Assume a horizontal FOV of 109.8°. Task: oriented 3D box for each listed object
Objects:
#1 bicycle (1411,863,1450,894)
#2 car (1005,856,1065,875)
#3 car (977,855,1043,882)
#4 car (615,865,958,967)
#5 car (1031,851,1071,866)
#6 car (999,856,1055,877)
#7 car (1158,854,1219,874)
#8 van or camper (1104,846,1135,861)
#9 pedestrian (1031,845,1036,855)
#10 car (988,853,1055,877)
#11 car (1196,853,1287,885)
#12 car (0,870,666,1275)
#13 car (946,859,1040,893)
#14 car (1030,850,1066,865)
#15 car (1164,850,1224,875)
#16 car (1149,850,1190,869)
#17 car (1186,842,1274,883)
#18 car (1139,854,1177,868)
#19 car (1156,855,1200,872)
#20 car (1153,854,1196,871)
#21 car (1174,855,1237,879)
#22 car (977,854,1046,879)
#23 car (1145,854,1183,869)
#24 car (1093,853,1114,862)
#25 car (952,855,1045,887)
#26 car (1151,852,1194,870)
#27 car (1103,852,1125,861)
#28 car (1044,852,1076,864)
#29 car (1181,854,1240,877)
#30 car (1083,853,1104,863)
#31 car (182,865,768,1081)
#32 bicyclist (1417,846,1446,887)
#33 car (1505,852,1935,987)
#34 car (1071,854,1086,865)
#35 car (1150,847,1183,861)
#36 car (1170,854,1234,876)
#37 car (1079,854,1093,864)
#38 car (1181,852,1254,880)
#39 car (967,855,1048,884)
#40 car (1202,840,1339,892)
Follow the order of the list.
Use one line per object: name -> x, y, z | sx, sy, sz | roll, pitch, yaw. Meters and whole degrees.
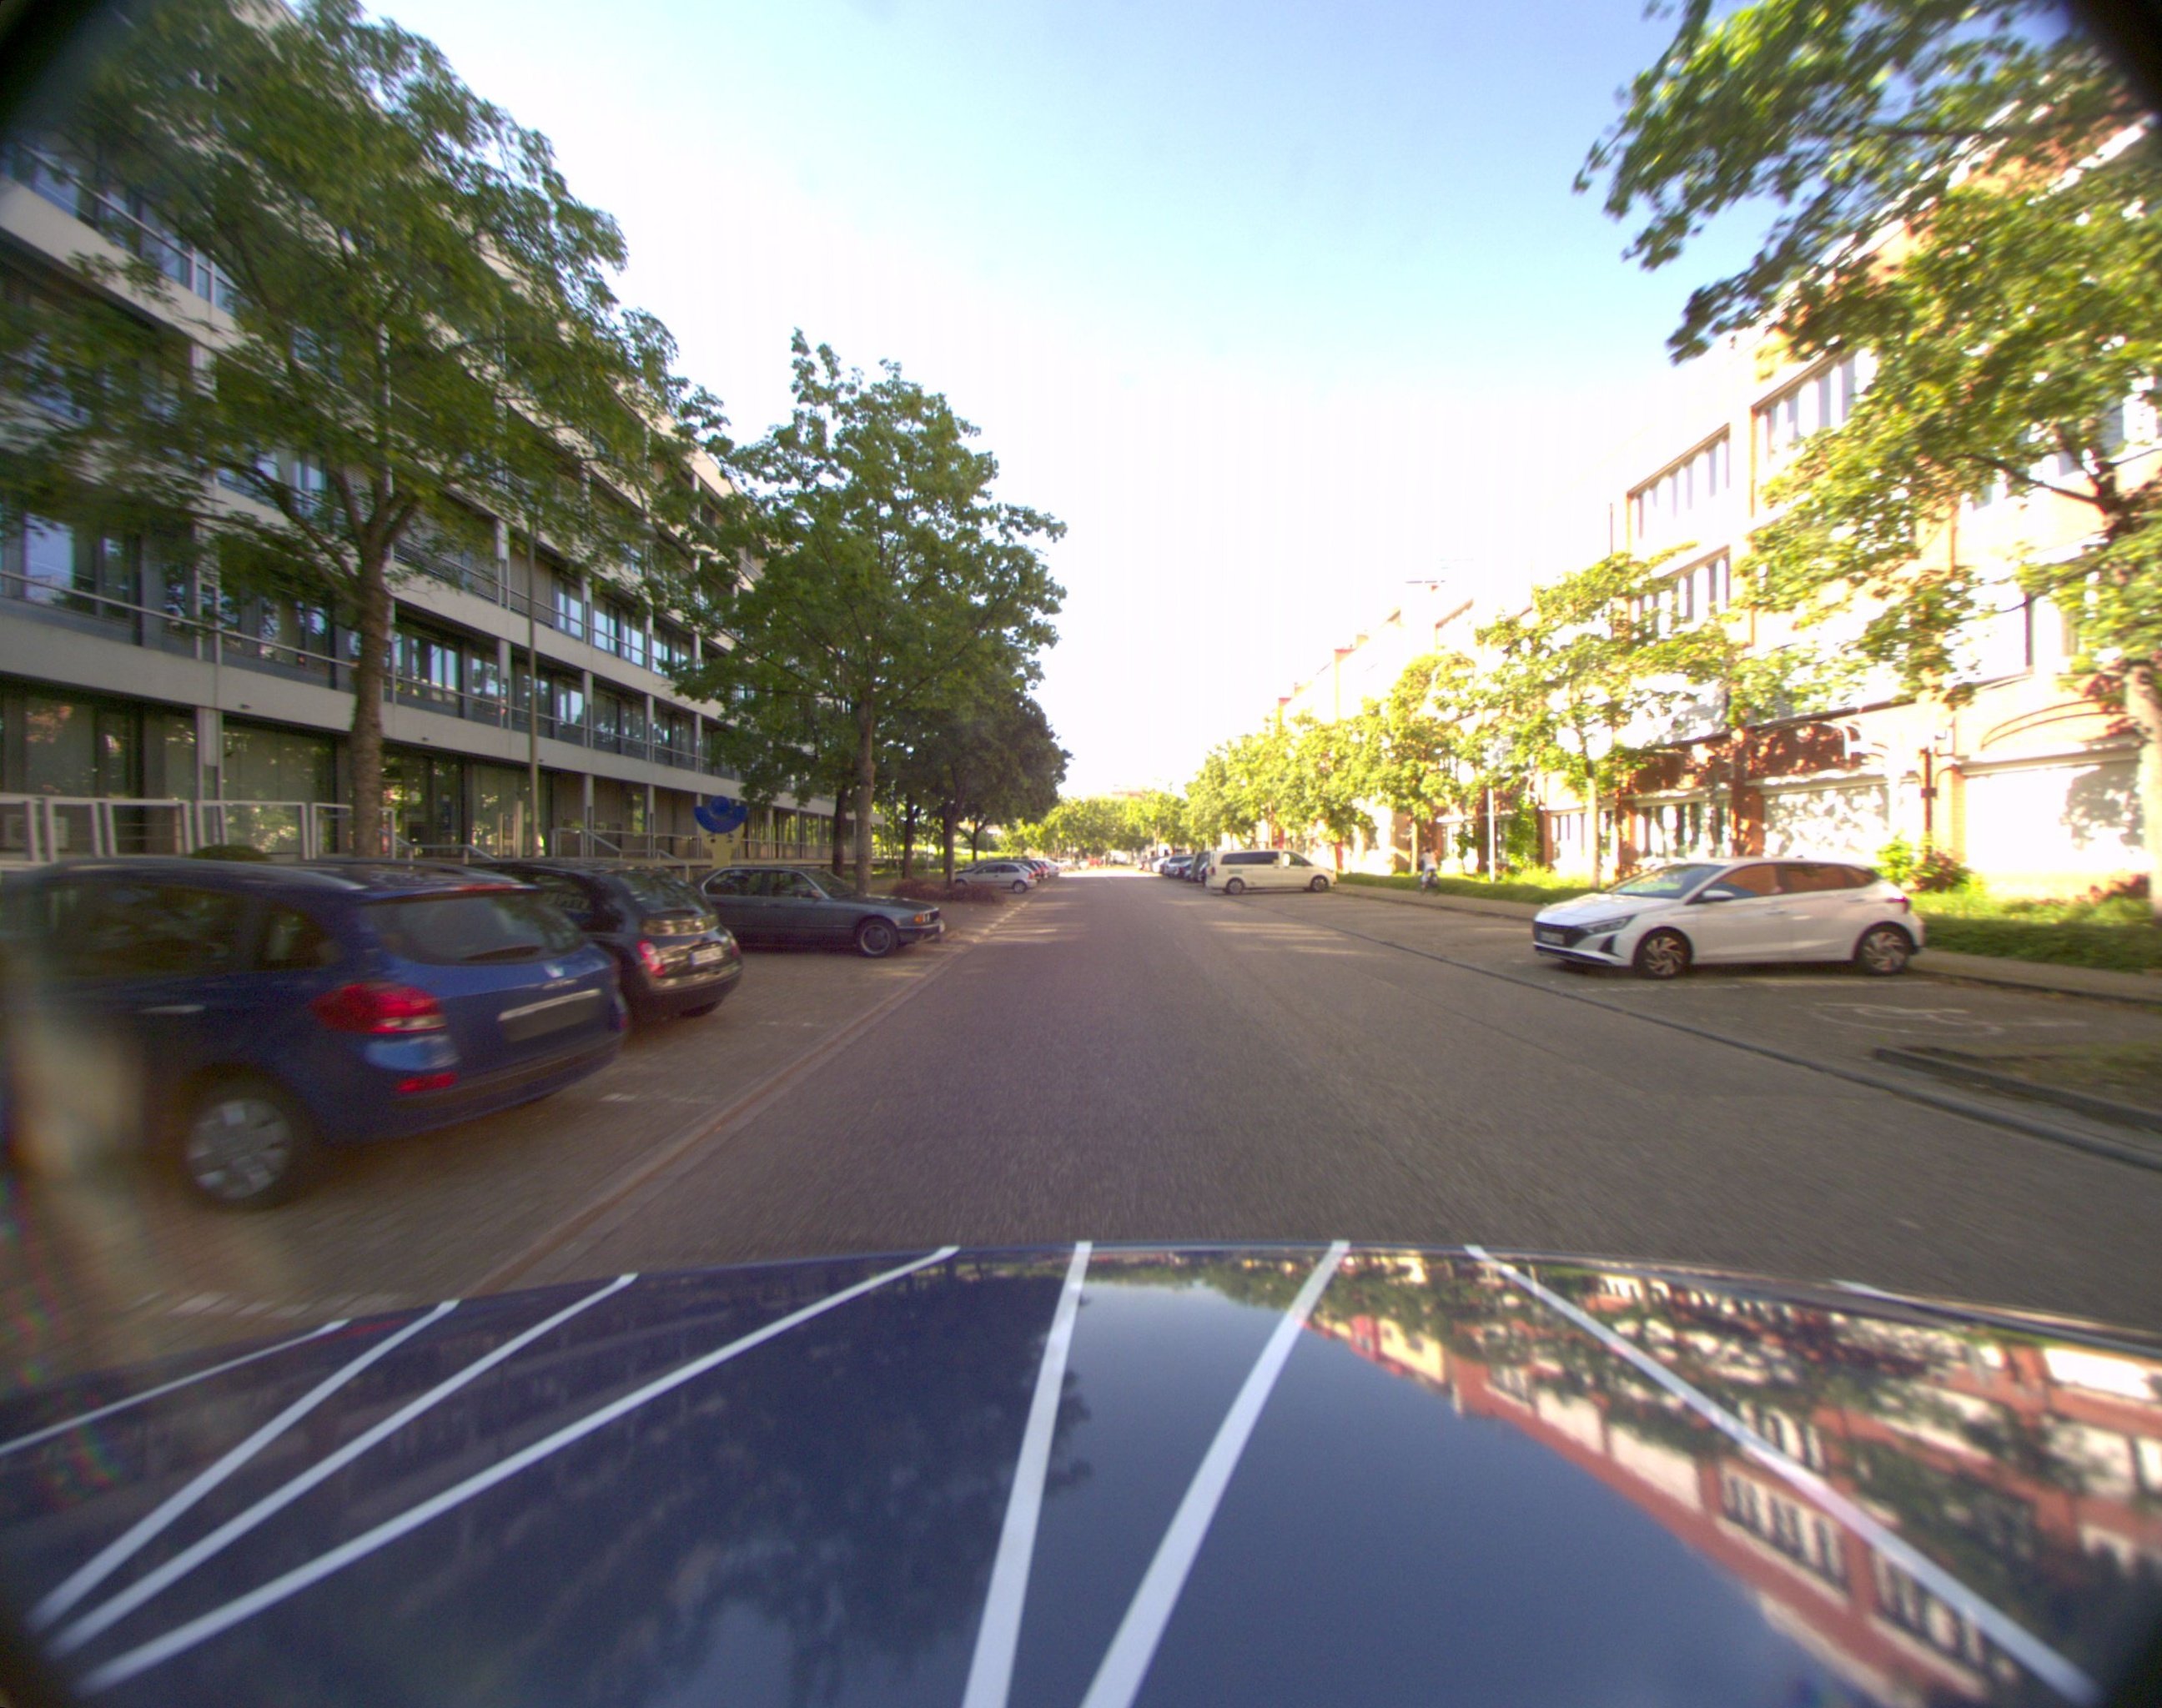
bicycle -> 11.853, 0.807, 25.837 | 0.606, 0.976, 1.864 | 0, 0, 5
car -> -3.544, 0.881, 59.457 | 4.589, 1.467, 1.747 | 0, 0, 1
car -> -4.175, 0.861, 44.951 | 3.754, 1.484, 1.616 | 1, 0, -4
car -> -4.612, 0.964, 12.525 | 4.837, 1.411, 2.032 | 1, 0, -1
car -> -3.547, 0.514, 89.953 | 4.563, 1.506, 1.981 | 2, 1, -5
car -> -4.007, 0.892, 56.834 | 3.846, 1.438, 1.922 | 1, 0, 5
car -> 8.372, 0.778, 59.326 | 4.414, 1.419, 1.772 | -2, 0, -1
van or camper -> 7.992, -0.127, 157.164 | 5.990, 2.967, 2.673 | 2, 1, 12
pedestrian -> -7.808, -0.681, 124.100 | 0.608, 1.533, 0.937 | 0, 1, 7
car -> -4.198, 0.769, 54.084 | 4.525, 1.533, 1.922 | 1, 0, 3
car -> 8.323, 0.760, 39.654 | 4.330, 1.469, 1.943 | -2, 0, 3
car -> -4.686, 0.900, 4.031 | 3.958, 1.506, 1.813 | 1, 0, 2
car -> -3.921, 0.963, 34.281 | 3.979, 1.411, 1.710 | 1, 0, 1
car -> -3.811, 0.389, 87.300 | 3.957, 1.506, 1.702 | 2, 1, 2
car -> 8.431, 0.605, 57.061 | 4.329, 1.707, 1.963 | -2, 0, 6
car -> 8.934, 0.563, 77.151 | 3.901, 1.800, 1.786 | -2, 0, 1
car -> 8.278, 0.448, 42.471 | 4.498, 2.077, 2.083 | -2, 0, 3
car -> 8.800, 0.780, 86.760 | 4.272, 1.415, 1.740 | -2, 0, 5
car -> 8.884, 0.863, 69.689 | 3.736, 1.438, 1.859 | -2, 0, -3
car -> 8.816, 0.779, 72.055 | 3.736, 1.438, 1.875 | -2, 0, -3
car -> 8.062, 0.818, 49.416 | 3.736, 1.419, 1.724 | -2, 0, -3
car -> -4.682, 0.831, 51.469 | 4.528, 1.533, 1.921 | 1, 0, -3
car -> 8.926, 0.788, 82.145 | 3.901, 1.415, 1.739 | -2, 0, 1
car -> 4.250, 0.647, 144.160 | 3.466, 1.471, 1.861 | 3, 1, 14
car -> -4.241, 0.876, 39.521 | 4.603, 1.484, 1.762 | 2, 0, -2
car -> 8.981, 0.704, 74.741 | 3.901, 1.565, 1.859 | -2, 0, 1
car -> 6.625, 0.529, 154.445 | 4.155, 1.537, 1.861 | 3, 1, 11
car -> -2.919, 0.528, 104.174 | 4.096, 1.421, 1.643 | 4, 1, 8
car -> 8.828, 0.769, 52.041 | 3.735, 1.419, 1.725 | -2, 0, 0
car -> 2.206, 0.673, 135.063 | 3.438, 1.535, 1.629 | 3, 1, 14
car -> -4.947, 0.907, 6.625 | 3.650, 1.506, 1.813 | 1, 0, 1
bicyclist -> 11.842, 0.420, 25.670 | 0.606, 1.345, 0.913 | 0, 1, 5
car -> 7.958, 0.760, 9.755 | 3.997, 1.477, 1.806 | -1, 0, 0
car -> -0.319, 0.836, 113.158 | 1.813, 1.485, 4.625 | 2, 0, 4
car -> 13.276, -0.026, 118.070 | 4.776, 1.973, 1.997 | -1, -1, -22
car -> 8.682, 0.773, 54.674 | 4.332, 1.350, 1.757 | -2, 0, 0
car -> 0.780, 0.828, 121.750 | 1.646, 1.485, 3.768 | 2, 0, 9
car -> 8.396, 0.733, 47.021 | 4.142, 1.519, 1.725 | -2, 0, 1
car -> -4.052, 0.857, 42.414 | 4.296, 1.484, 2.004 | 1, 0, -1
car -> 7.924, 0.501, 32.089 | 5.270, 1.955, 1.943 | -2, 0, 2
